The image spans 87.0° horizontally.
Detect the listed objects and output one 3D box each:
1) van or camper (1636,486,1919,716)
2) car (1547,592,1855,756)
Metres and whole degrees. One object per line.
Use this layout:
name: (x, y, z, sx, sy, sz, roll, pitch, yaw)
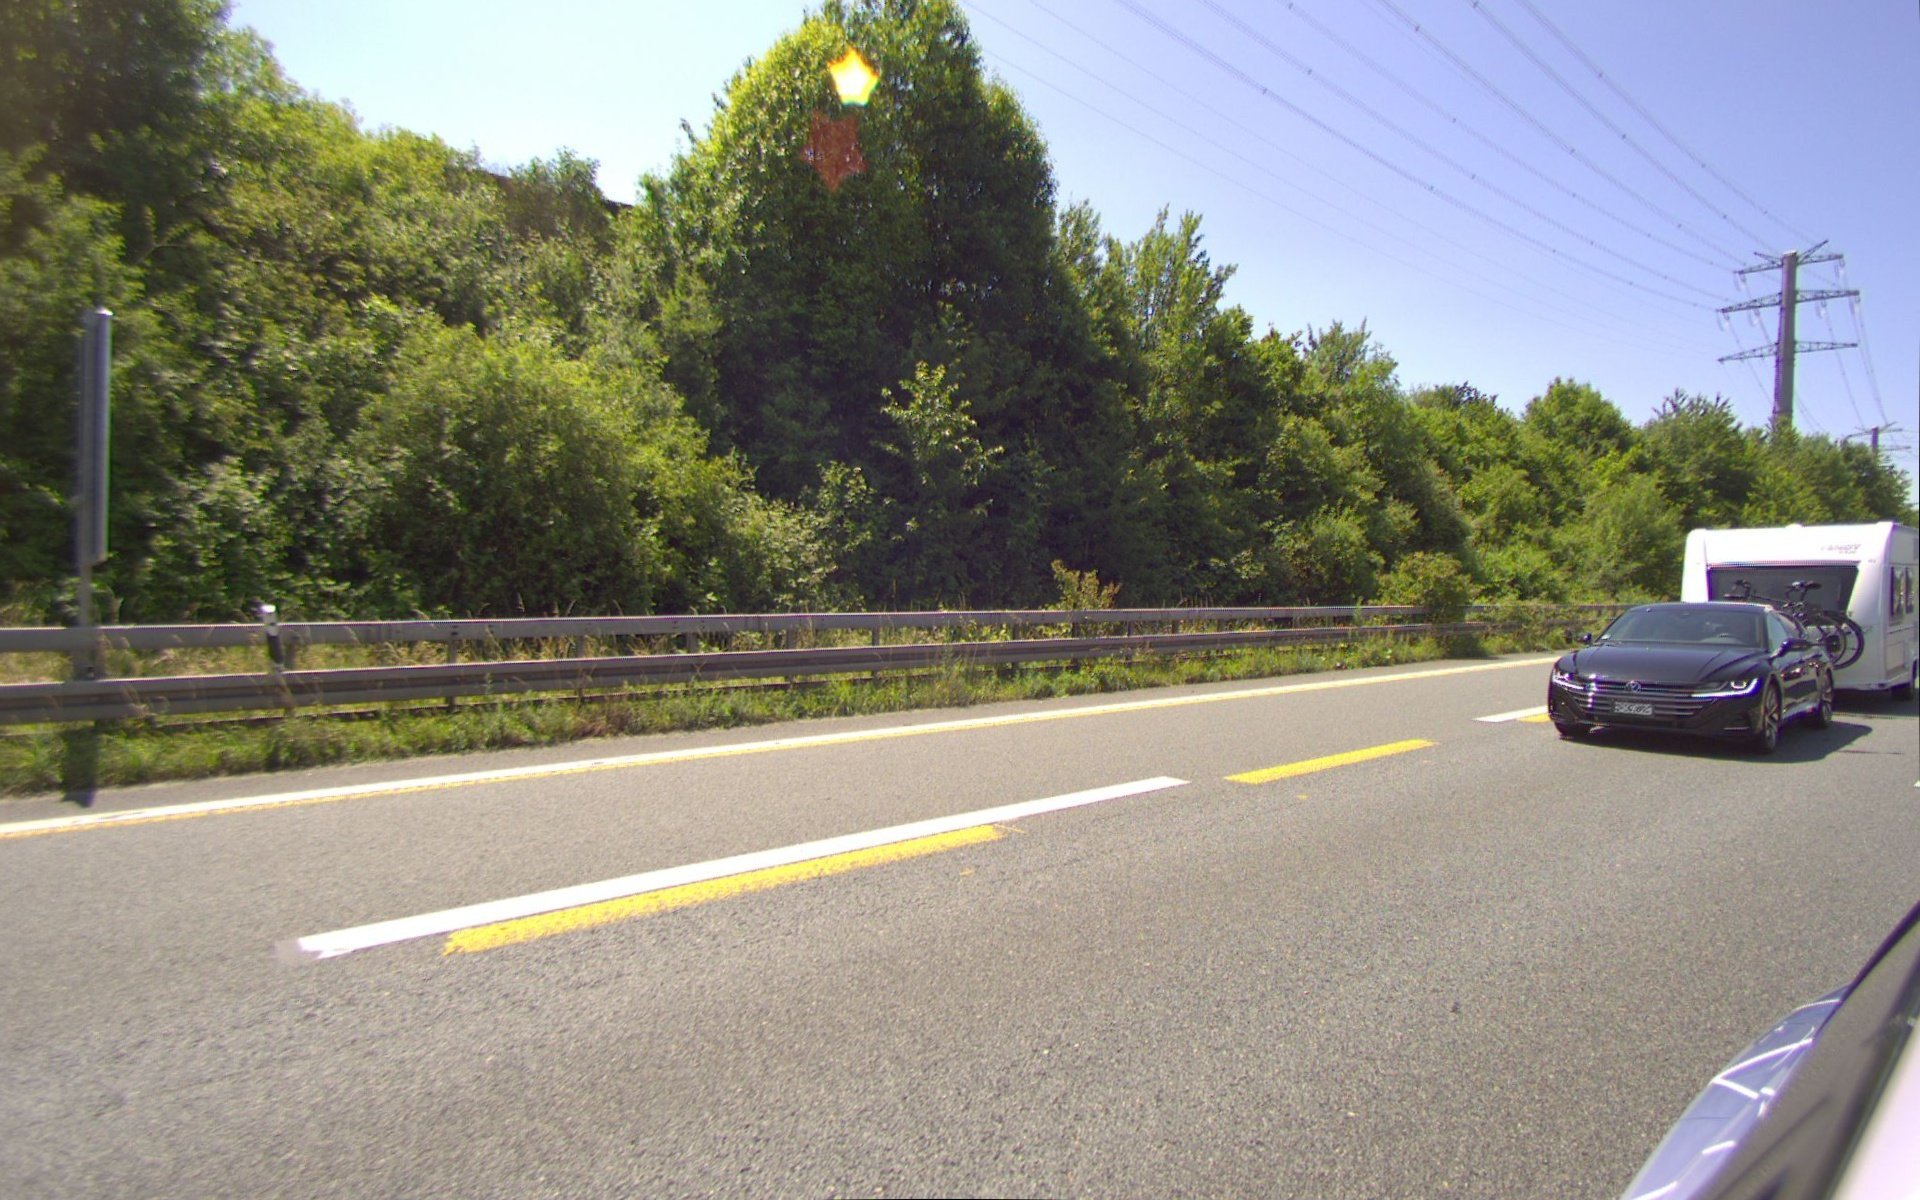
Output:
van or camper: (12.788, -0.025, 15.049, 8.270, 2.597, 2.430, 0, 1, -41)
car: (8.084, 0.635, 10.908, 4.136, 1.425, 1.799, 0, 1, -41)
